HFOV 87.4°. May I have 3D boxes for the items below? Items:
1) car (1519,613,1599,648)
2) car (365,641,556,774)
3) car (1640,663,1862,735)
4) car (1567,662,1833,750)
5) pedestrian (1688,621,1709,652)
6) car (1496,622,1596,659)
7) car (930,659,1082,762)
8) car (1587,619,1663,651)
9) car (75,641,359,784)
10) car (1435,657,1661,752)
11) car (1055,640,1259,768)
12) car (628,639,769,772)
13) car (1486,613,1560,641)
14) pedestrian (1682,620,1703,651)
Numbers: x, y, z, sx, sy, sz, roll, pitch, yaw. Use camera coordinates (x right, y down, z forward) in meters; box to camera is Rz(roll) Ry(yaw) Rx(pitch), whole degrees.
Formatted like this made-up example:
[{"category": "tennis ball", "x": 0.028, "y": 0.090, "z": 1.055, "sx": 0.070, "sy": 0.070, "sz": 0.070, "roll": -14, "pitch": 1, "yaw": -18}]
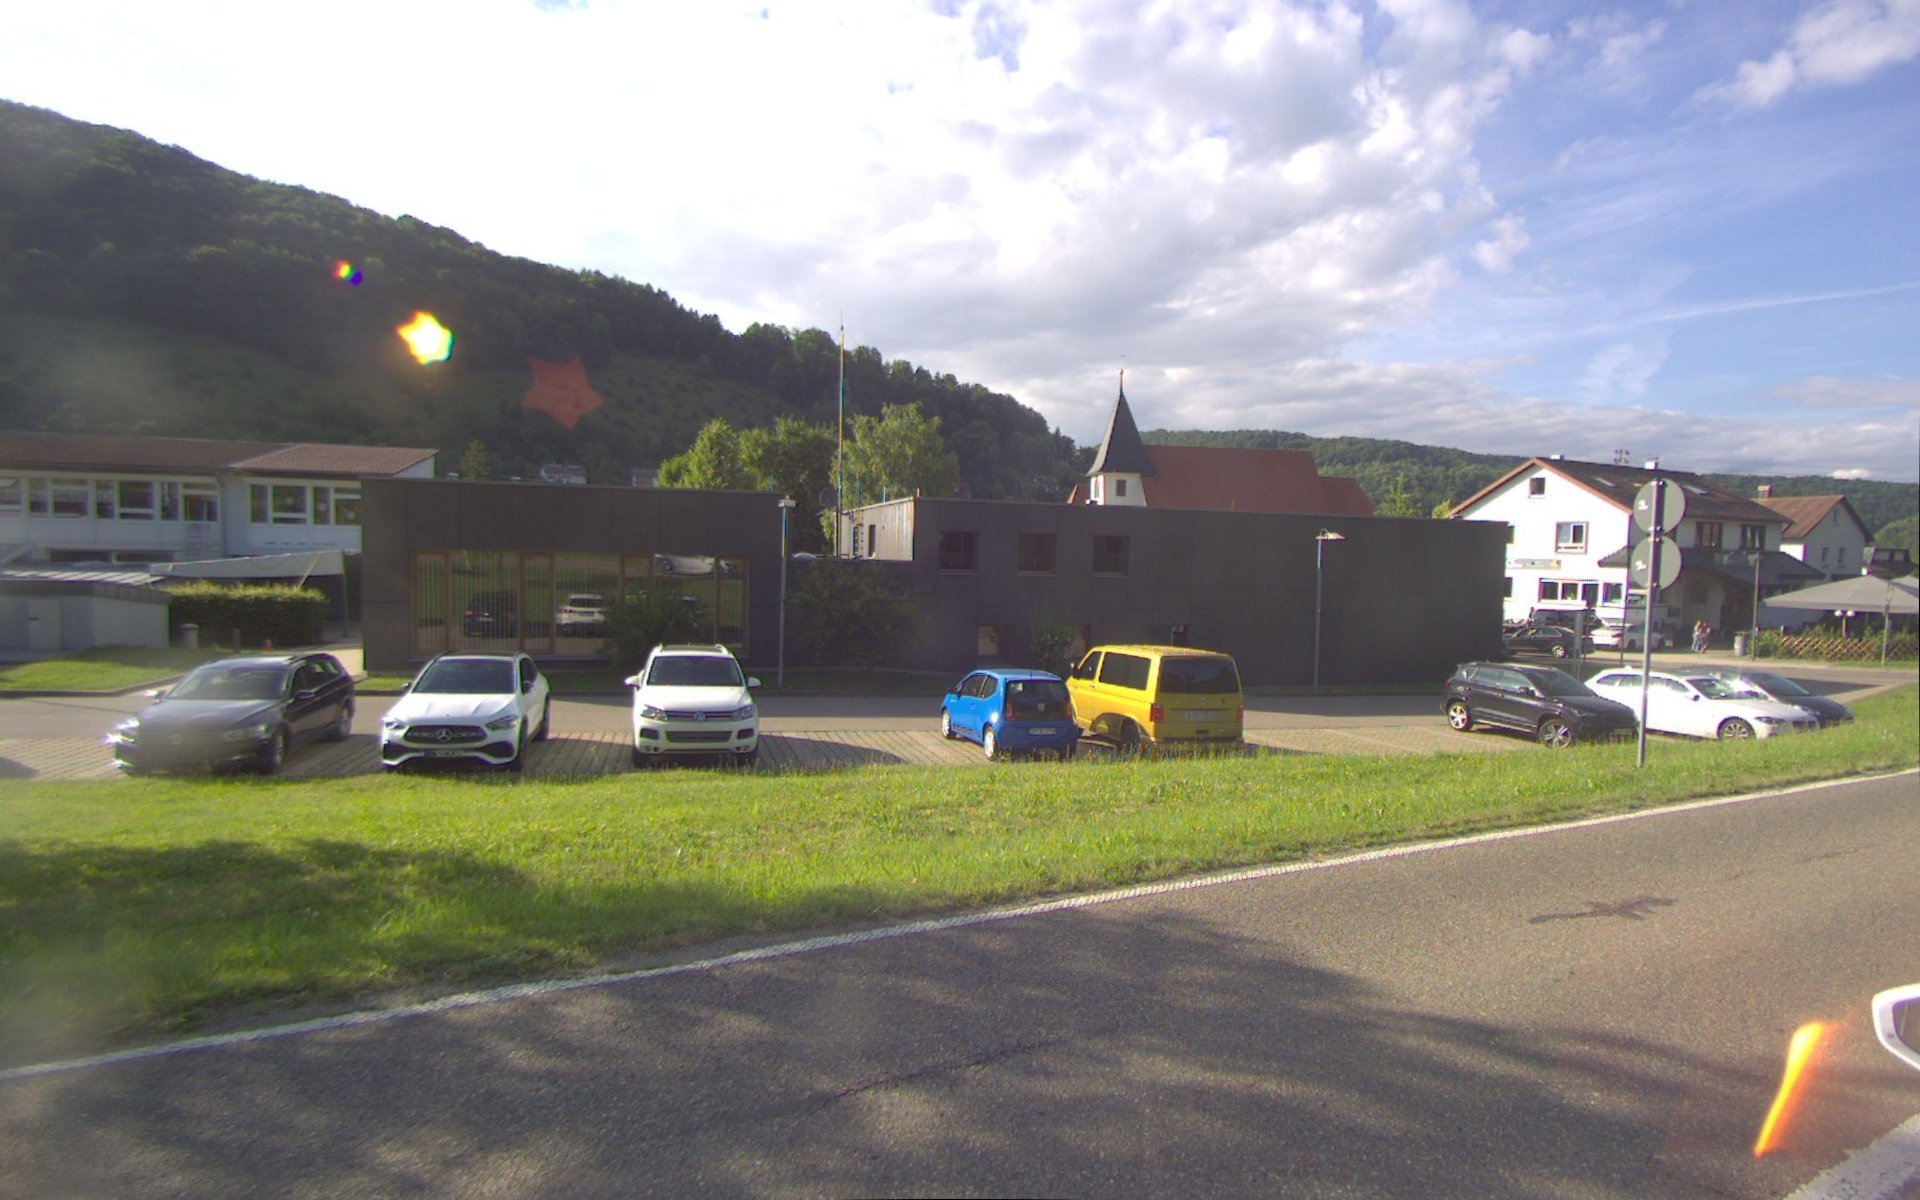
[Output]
[{"category": "car", "x": 31.495, "y": 1.623, "z": 52.803, "sx": 3.953, "sy": 1.684, "sz": 1.878, "roll": 2, "pitch": 0, "yaw": -30}, {"category": "car", "x": -7.731, "y": 1.573, "z": 16.022, "sx": 1.968, "sy": 1.575, "sz": 4.536, "roll": 2, "pitch": 0, "yaw": -17}, {"category": "car", "x": 19.413, "y": 2.387, "z": 24.869, "sx": 1.735, "sy": 1.327, "sz": 3.980, "roll": 2, "pitch": 0, "yaw": -21}, {"category": "car", "x": 16.981, "y": 2.378, "z": 23.420, "sx": 1.851, "sy": 1.513, "sz": 4.811, "roll": 2, "pitch": 0, "yaw": -17}, {"category": "pedestrian", "x": 36.304, "y": 1.791, "z": 49.362, "sx": 0.583, "sy": 1.523, "sz": 0.605, "roll": 2, "pitch": 0, "yaw": -30}, {"category": "car", "x": 27.059, "y": 1.844, "z": 46.555, "sx": 1.885, "sy": 1.461, "sz": 3.994, "roll": 2, "pitch": 0, "yaw": -9}, {"category": "car", "x": 0.755, "y": 1.971, "z": 18.728, "sx": 1.608, "sy": 1.491, "sz": 3.489, "roll": 2, "pitch": 0, "yaw": -19}, {"category": "car", "x": 33.378, "y": 1.765, "z": 50.388, "sx": 3.953, "sy": 1.469, "sz": 1.548, "roll": 2, "pitch": 0, "yaw": -30}, {"category": "car", "x": -10.763, "y": 1.536, "z": 15.018, "sx": 1.968, "sy": 1.575, "sz": 4.536, "roll": 2, "pitch": 0, "yaw": -17}, {"category": "car", "x": 12.825, "y": 2.227, "z": 22.216, "sx": 1.968, "sy": 1.659, "sz": 4.022, "roll": 2, "pitch": 0, "yaw": -17}, {"category": "car", "x": 3.521, "y": 1.833, "z": 18.986, "sx": 1.966, "sy": 1.892, "sz": 4.612, "roll": 2, "pitch": 0, "yaw": -14}, {"category": "car", "x": -4.529, "y": 1.658, "z": 17.081, "sx": 1.968, "sy": 1.725, "sz": 4.536, "roll": 2, "pitch": 0, "yaw": -17}, {"category": "car", "x": 30.852, "y": 1.464, "z": 55.014, "sx": 3.954, "sy": 1.372, "sz": 1.832, "roll": 2, "pitch": 0, "yaw": -31}, {"category": "pedestrian", "x": 36.587, "y": 1.785, "z": 50.167, "sx": 0.583, "sy": 1.523, "sz": 0.605, "roll": 2, "pitch": 0, "yaw": -30}]
